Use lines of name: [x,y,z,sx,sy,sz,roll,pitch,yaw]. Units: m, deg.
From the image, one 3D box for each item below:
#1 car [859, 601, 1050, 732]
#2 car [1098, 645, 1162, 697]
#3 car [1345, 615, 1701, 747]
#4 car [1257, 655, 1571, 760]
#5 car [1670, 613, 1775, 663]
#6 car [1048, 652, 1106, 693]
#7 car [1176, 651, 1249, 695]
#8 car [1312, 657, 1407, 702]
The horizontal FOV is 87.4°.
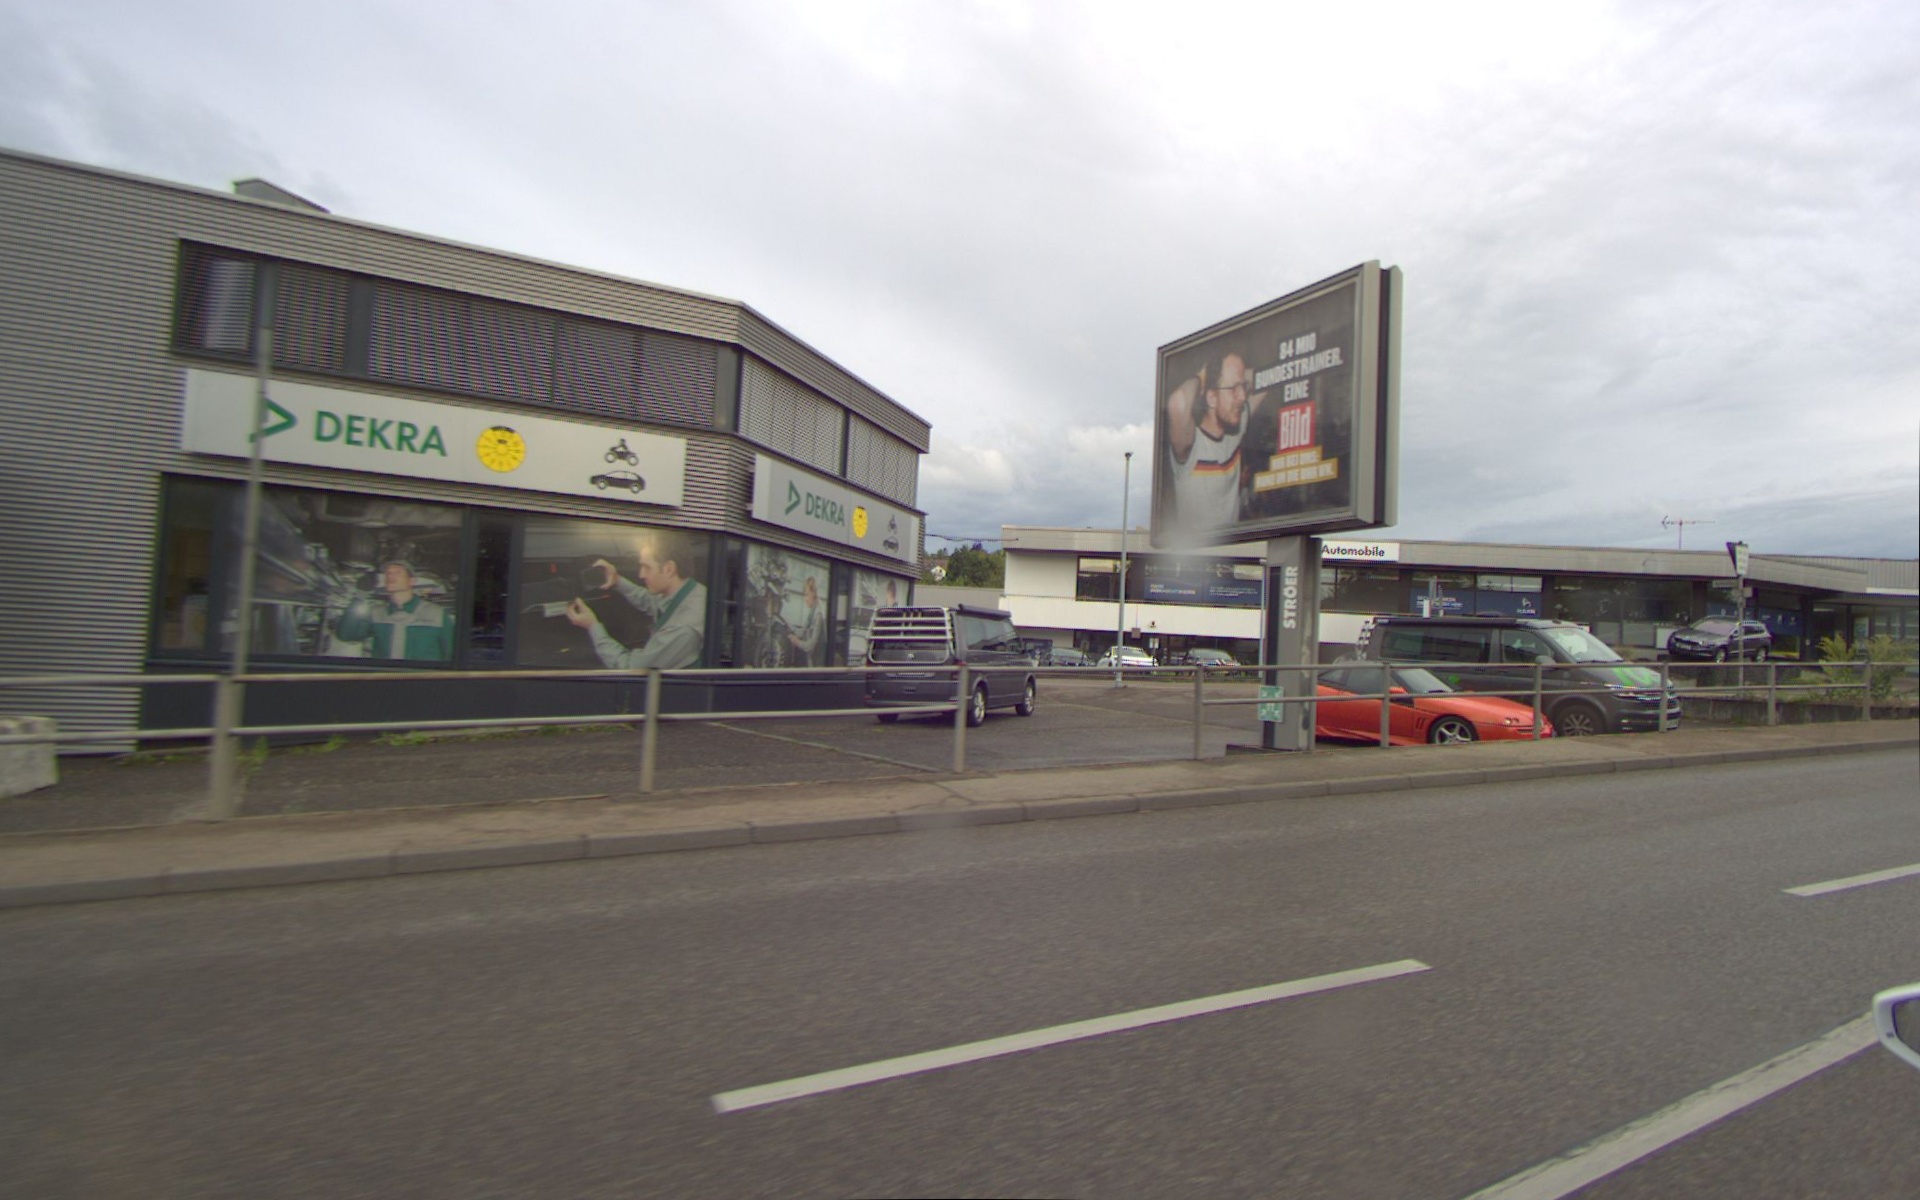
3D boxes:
car: [0.092,1.156,18.374,1.960,2.013,4.879,1,-2,19]
car: [6.473,2.681,38.695,1.784,1.811,3.992,1,-2,0]
car: [9.264,1.262,17.042,1.804,1.895,5.038,2,-3,-33]
car: [6.788,1.539,15.393,1.754,1.284,4.062,3,-3,-37]
car: [29.986,1.509,39.493,4.191,1.823,1.396,2,-3,-23]
car: [4.502,2.786,39.157,1.807,1.446,3.992,1,-2,0]
car: [9.348,2.681,37.449,1.744,1.446,3.992,1,-2,0]
car: [14.606,2.883,36.955,1.852,1.446,4.107,1,-2,0]
